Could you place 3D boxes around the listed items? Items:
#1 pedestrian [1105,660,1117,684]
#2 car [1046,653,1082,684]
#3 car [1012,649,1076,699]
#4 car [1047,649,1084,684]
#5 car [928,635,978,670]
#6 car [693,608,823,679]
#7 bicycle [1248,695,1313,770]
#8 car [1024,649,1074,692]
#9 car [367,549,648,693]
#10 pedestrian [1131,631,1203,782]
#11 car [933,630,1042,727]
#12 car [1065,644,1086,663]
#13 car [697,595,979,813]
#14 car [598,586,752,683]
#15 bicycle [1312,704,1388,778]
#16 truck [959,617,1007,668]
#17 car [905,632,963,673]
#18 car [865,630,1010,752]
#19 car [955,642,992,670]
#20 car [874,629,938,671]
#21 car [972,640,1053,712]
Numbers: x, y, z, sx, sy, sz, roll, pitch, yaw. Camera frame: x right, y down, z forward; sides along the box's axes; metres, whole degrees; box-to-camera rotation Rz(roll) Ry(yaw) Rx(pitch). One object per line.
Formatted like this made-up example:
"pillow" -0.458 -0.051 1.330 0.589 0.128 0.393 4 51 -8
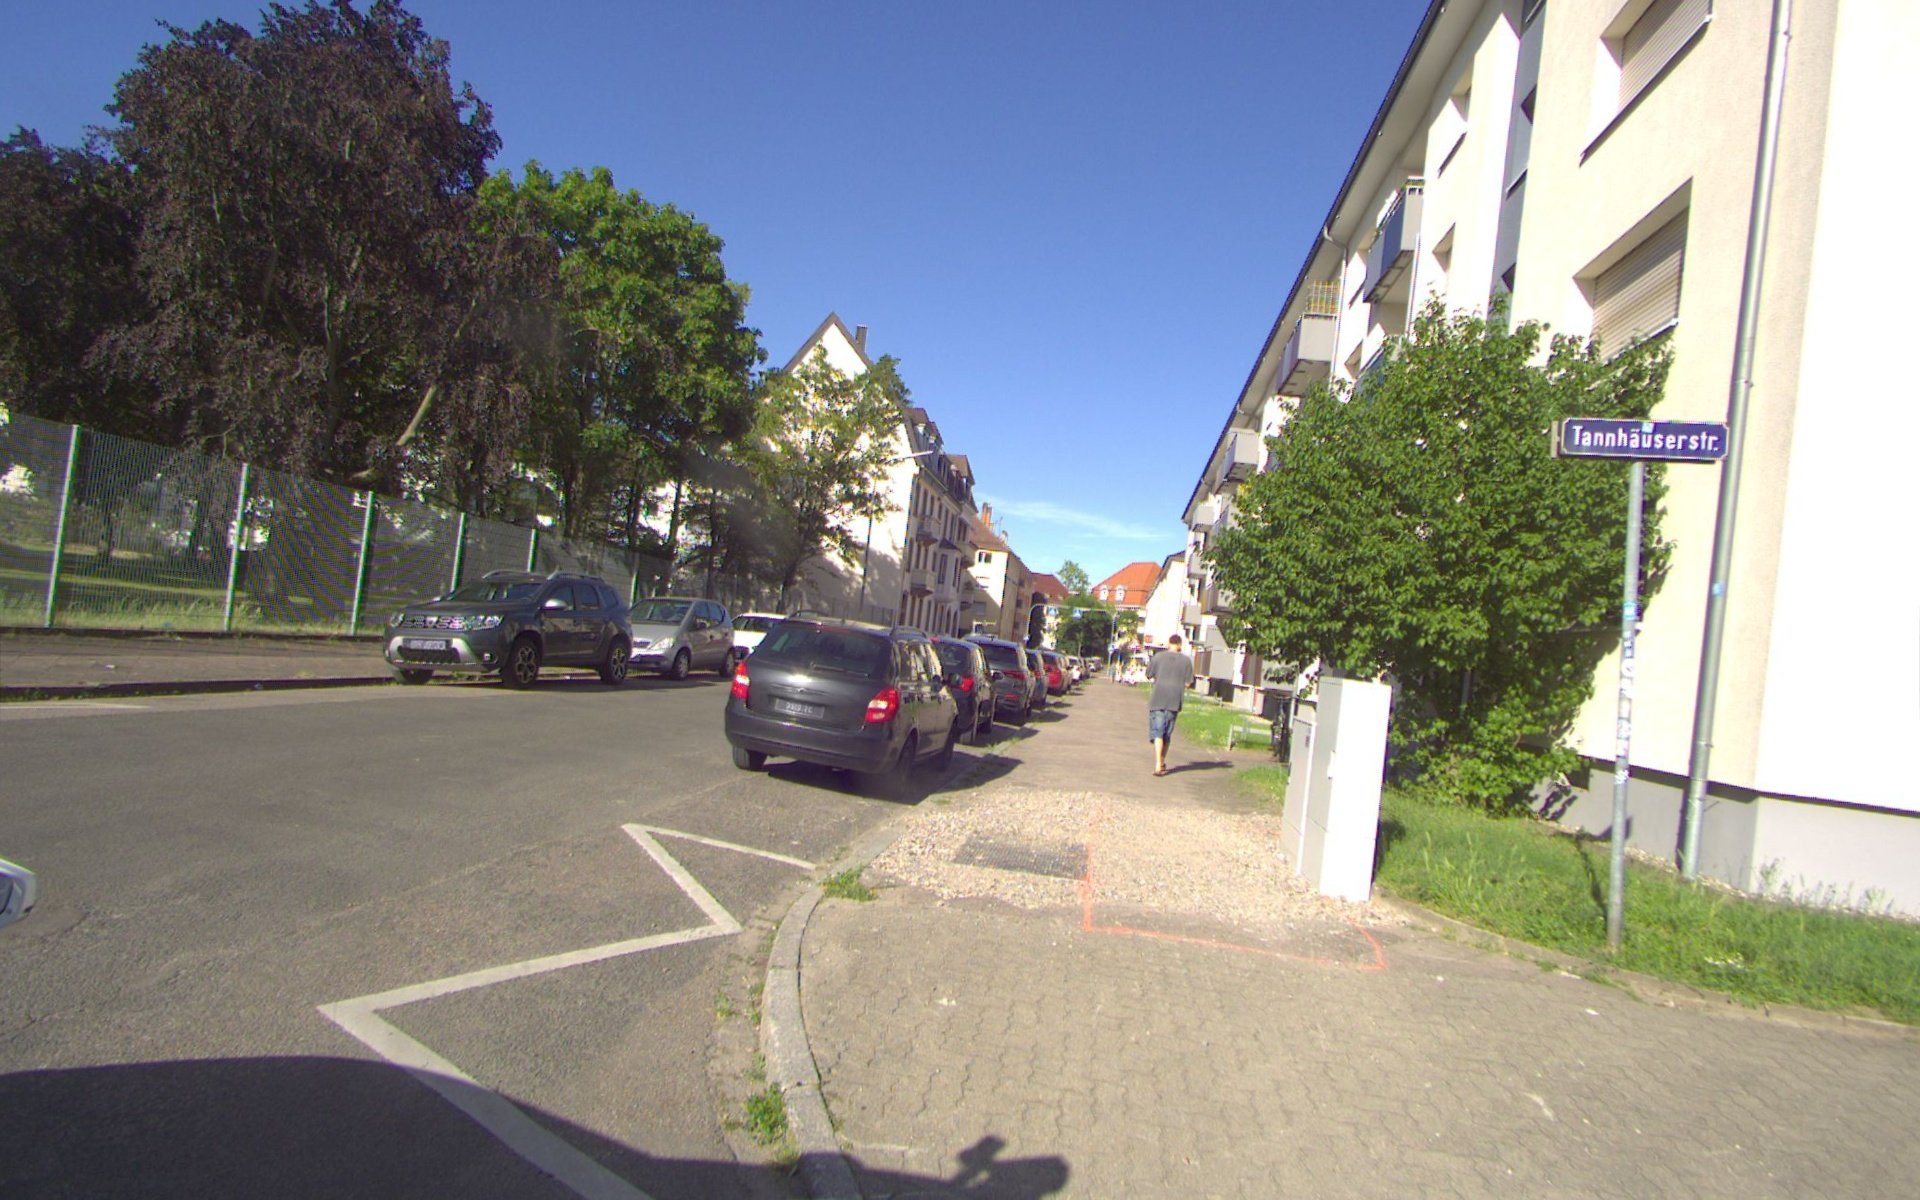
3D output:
"pedestrian" 9.394 4.467 62.485 0.566 1.451 0.472 5 -1 11
"car" 6.184 4.030 59.509 1.662 1.483 3.587 9 -2 10
"car" 3.085 2.633 36.088 1.724 1.460 4.530 7 -3 10
"car" 5.703 3.616 54.626 1.660 1.478 3.825 12 -2 6
"car" -0.327 2.865 54.036 1.763 1.580 4.467 8 -3 10
"car" -4.878 1.106 24.916 1.765 1.461 4.126 5 -3 8
"bicycle" 5.376 2.198 17.004 0.477 1.023 2.286 6 -2 5
"car" 3.925 3.052 43.889 1.868 1.640 4.609 4 -3 7
"car" -6.289 0.378 14.589 1.685 1.683 4.171 4 -3 7
"pedestrian" 2.636 1.345 12.906 0.635 1.792 0.842 7 -1 7
"car" 0.679 1.593 20.884 1.725 1.576 4.261 8 -2 7
"car" 11.462 5.346 99.842 1.792 1.652 4.262 7 -2 8
"car" -0.970 0.977 10.204 1.592 1.566 4.092 7 -3 10
"car" -5.499 0.730 19.884 1.538 1.662 3.621 3 -3 7
"bicycle" 6.453 2.303 16.757 0.477 0.971 2.286 6 -2 5
"truck" 1.652 2.942 68.059 2.223 3.019 7.287 7 -3 7
"car" -1.170 2.508 47.841 1.848 1.683 4.939 5 -3 8
"car" -0.229 1.378 15.906 1.579 1.501 3.803 7 -2 8
"car" 0.855 3.346 60.426 1.763 1.559 4.646 1 -2 7
"car" -2.179 2.109 41.709 1.765 1.487 4.509 5 -3 7
"car" 1.469 1.967 26.484 1.725 1.497 4.086 8 -2 7
